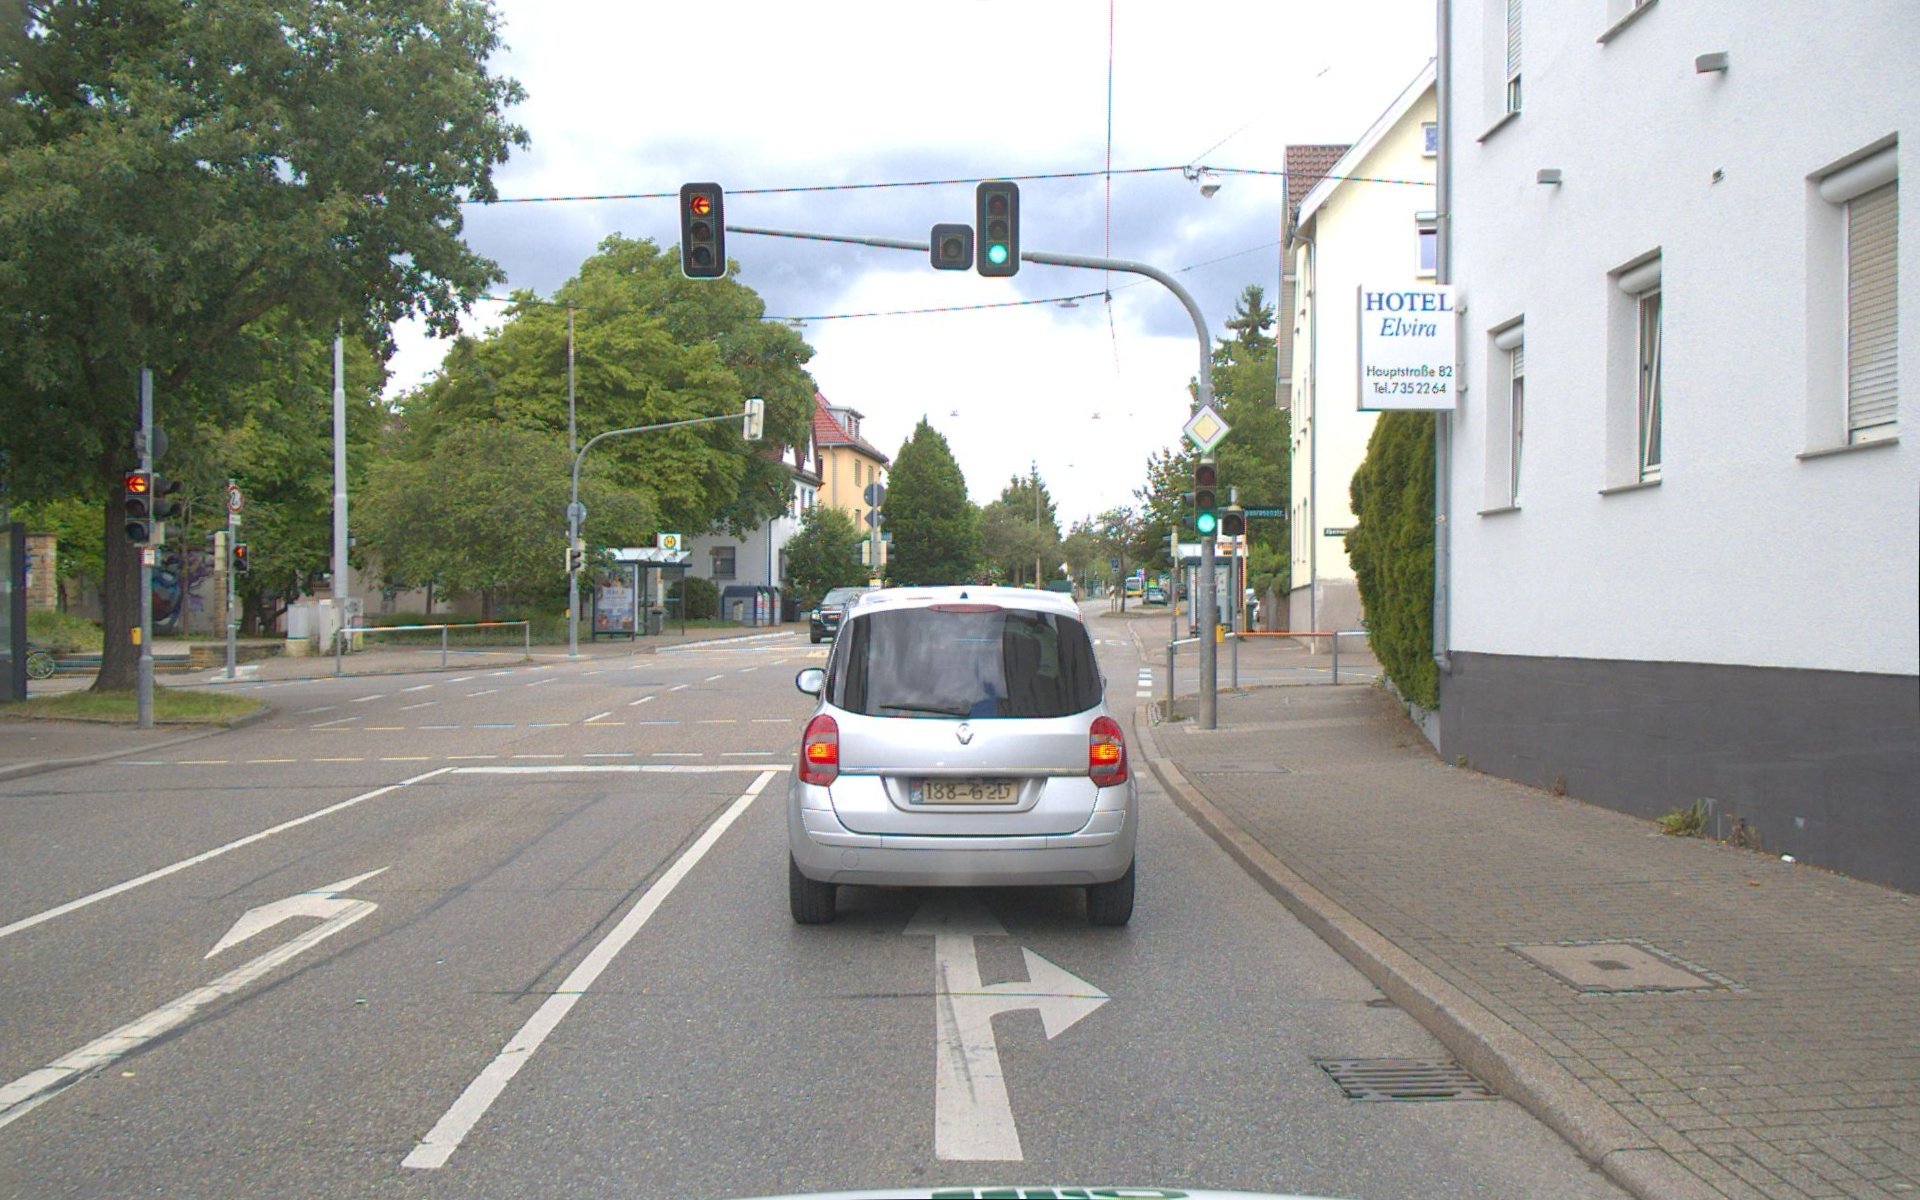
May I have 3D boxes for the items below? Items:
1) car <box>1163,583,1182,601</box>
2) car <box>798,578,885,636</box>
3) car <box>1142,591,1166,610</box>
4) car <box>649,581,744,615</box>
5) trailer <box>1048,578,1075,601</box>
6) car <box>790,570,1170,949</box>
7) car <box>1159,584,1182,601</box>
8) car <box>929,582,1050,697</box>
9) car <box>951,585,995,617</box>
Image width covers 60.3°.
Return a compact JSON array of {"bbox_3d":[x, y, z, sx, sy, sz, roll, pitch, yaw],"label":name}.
[{"bbox_3d":[18.669,-0.703,145.619,1.627,1.591,4.102,0,0,7],"label":"car"},{"bbox_3d":[-3.646,0.249,51.837,1.720,1.663,4.598,-2,-1,8],"label":"car"},{"bbox_3d":[14.359,0.041,122.295,1.615,1.406,4.003,0,-1,10],"label":"car"},{"bbox_3d":[-11.917,-0.062,74.948,3.902,1.355,1.723,-2,-1,7],"label":"car"},{"bbox_3d":[10.052,-0.995,163.473,2.263,2.123,5.877,1,0,8],"label":"trailer"},{"bbox_3d":[0.130,0.694,9.075,1.596,1.584,4.000,1,0,1],"label":"car"},{"bbox_3d":[18.000,-0.611,141.401,1.627,1.417,3.671,0,1,11],"label":"car"},{"bbox_3d":[0.516,0.586,26.473,1.791,1.705,3.575,0,0,3],"label":"car"},{"bbox_3d":[0.619,0.066,76.776,1.530,1.445,4.133,-1,-1,8],"label":"car"}]
